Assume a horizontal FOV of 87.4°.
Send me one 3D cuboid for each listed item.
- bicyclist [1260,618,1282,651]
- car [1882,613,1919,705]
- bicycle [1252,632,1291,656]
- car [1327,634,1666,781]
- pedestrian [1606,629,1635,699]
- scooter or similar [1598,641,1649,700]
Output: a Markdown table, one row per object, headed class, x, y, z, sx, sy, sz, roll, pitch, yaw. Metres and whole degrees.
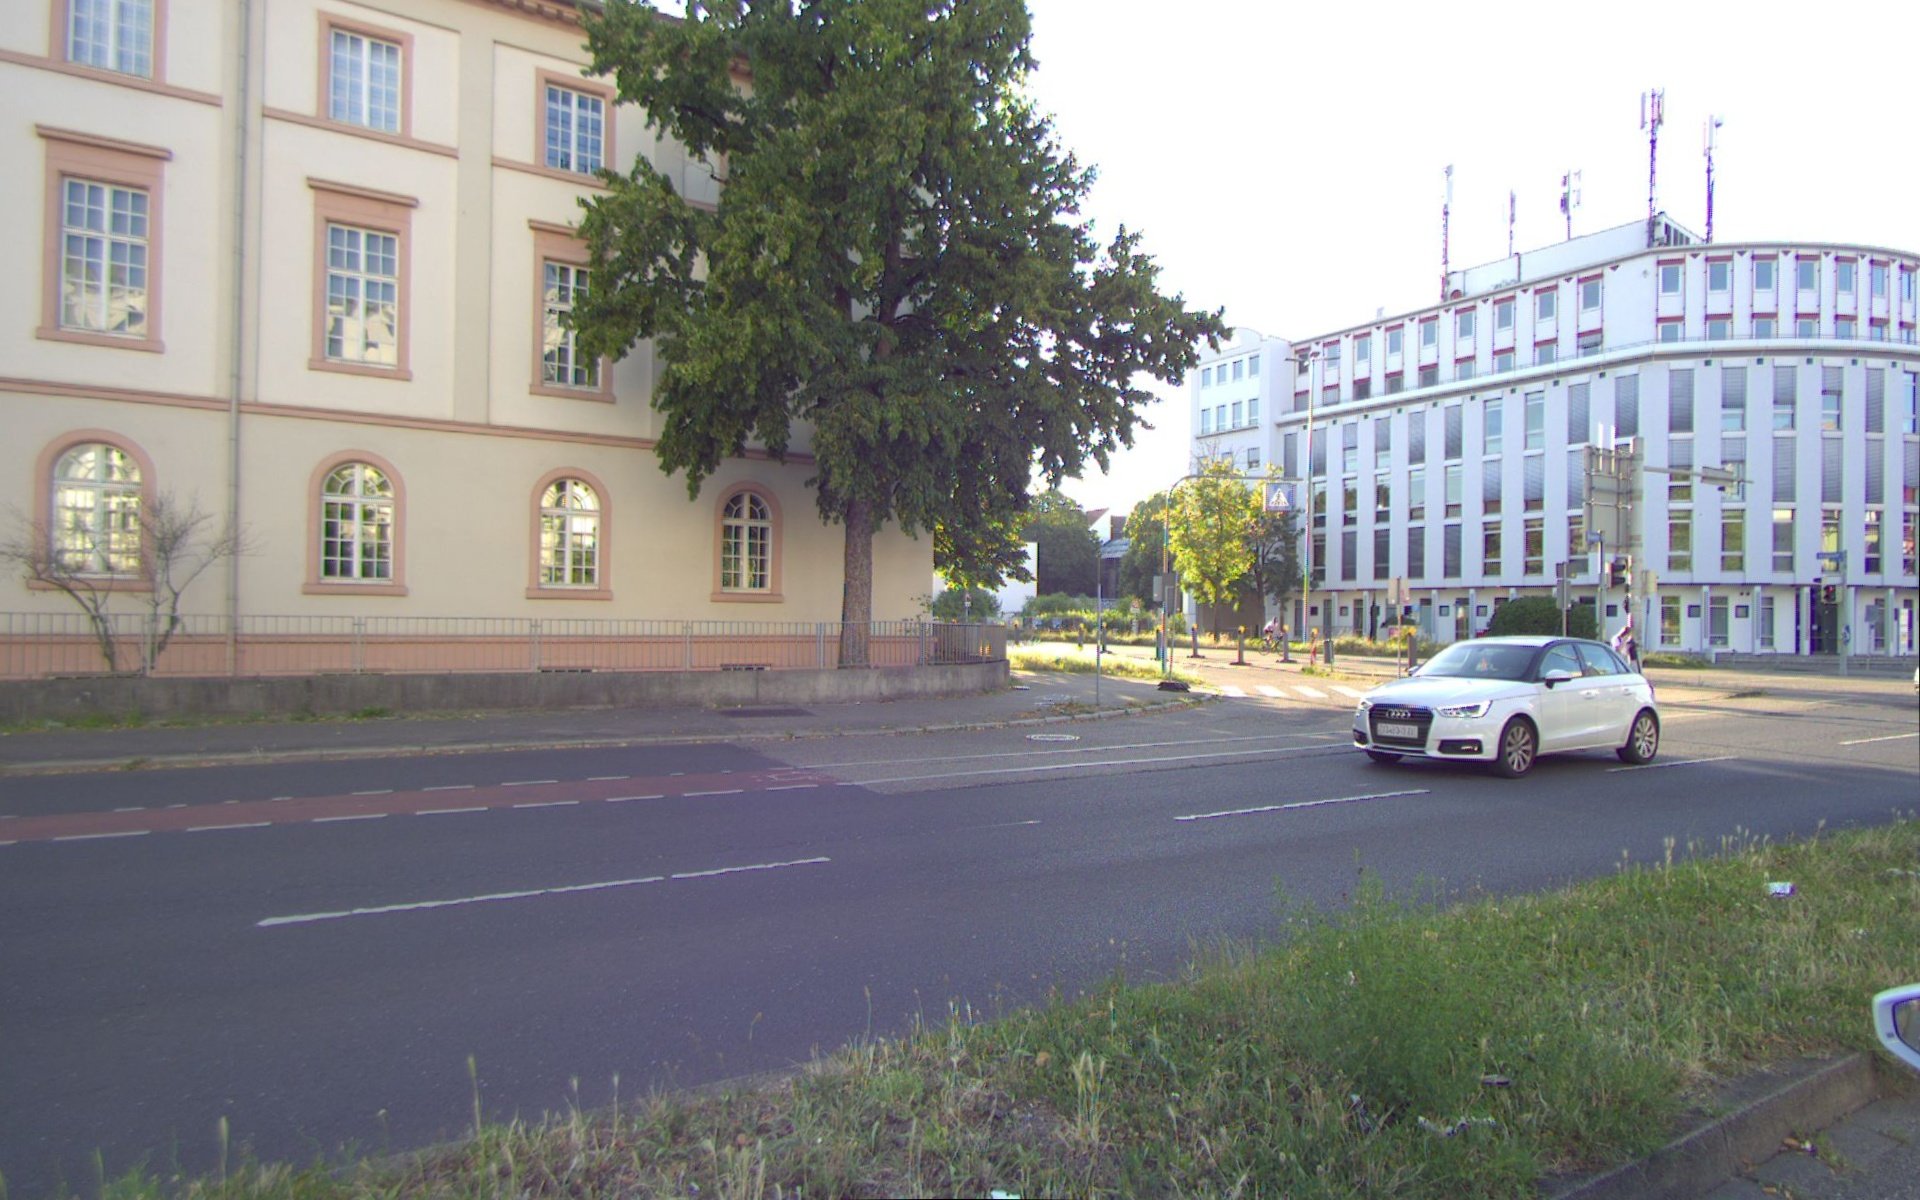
| class | x | y | z | sx | sy | sz | roll | pitch | yaw |
| --- | --- | --- | --- | --- | --- | --- | --- | --- | --- |
| bicyclist | 14.293 | 1.570 | 46.128 | 0.453 | 1.516 | 0.879 | 1 | -1 | -36 |
| car | 21.205 | 1.196 | 20.139 | 4.156 | 1.841 | 1.995 | 1 | -1 | -13 |
| bicycle | 14.283 | 2.011 | 46.135 | 0.498 | 1.056 | 1.786 | 1 | -1 | -35 |
| car | 6.038 | 1.095 | 11.251 | 3.643 | 1.406 | 1.684 | 1 | -2 | -30 |
| pedestrian | 14.696 | 1.405 | 22.342 | 0.332 | 1.525 | 0.470 | 1 | -1 | -41 |
| scooter or similar | 14.693 | 1.545 | 22.248 | 0.368 | 1.250 | 0.885 | 1 | -1 | -40 |
